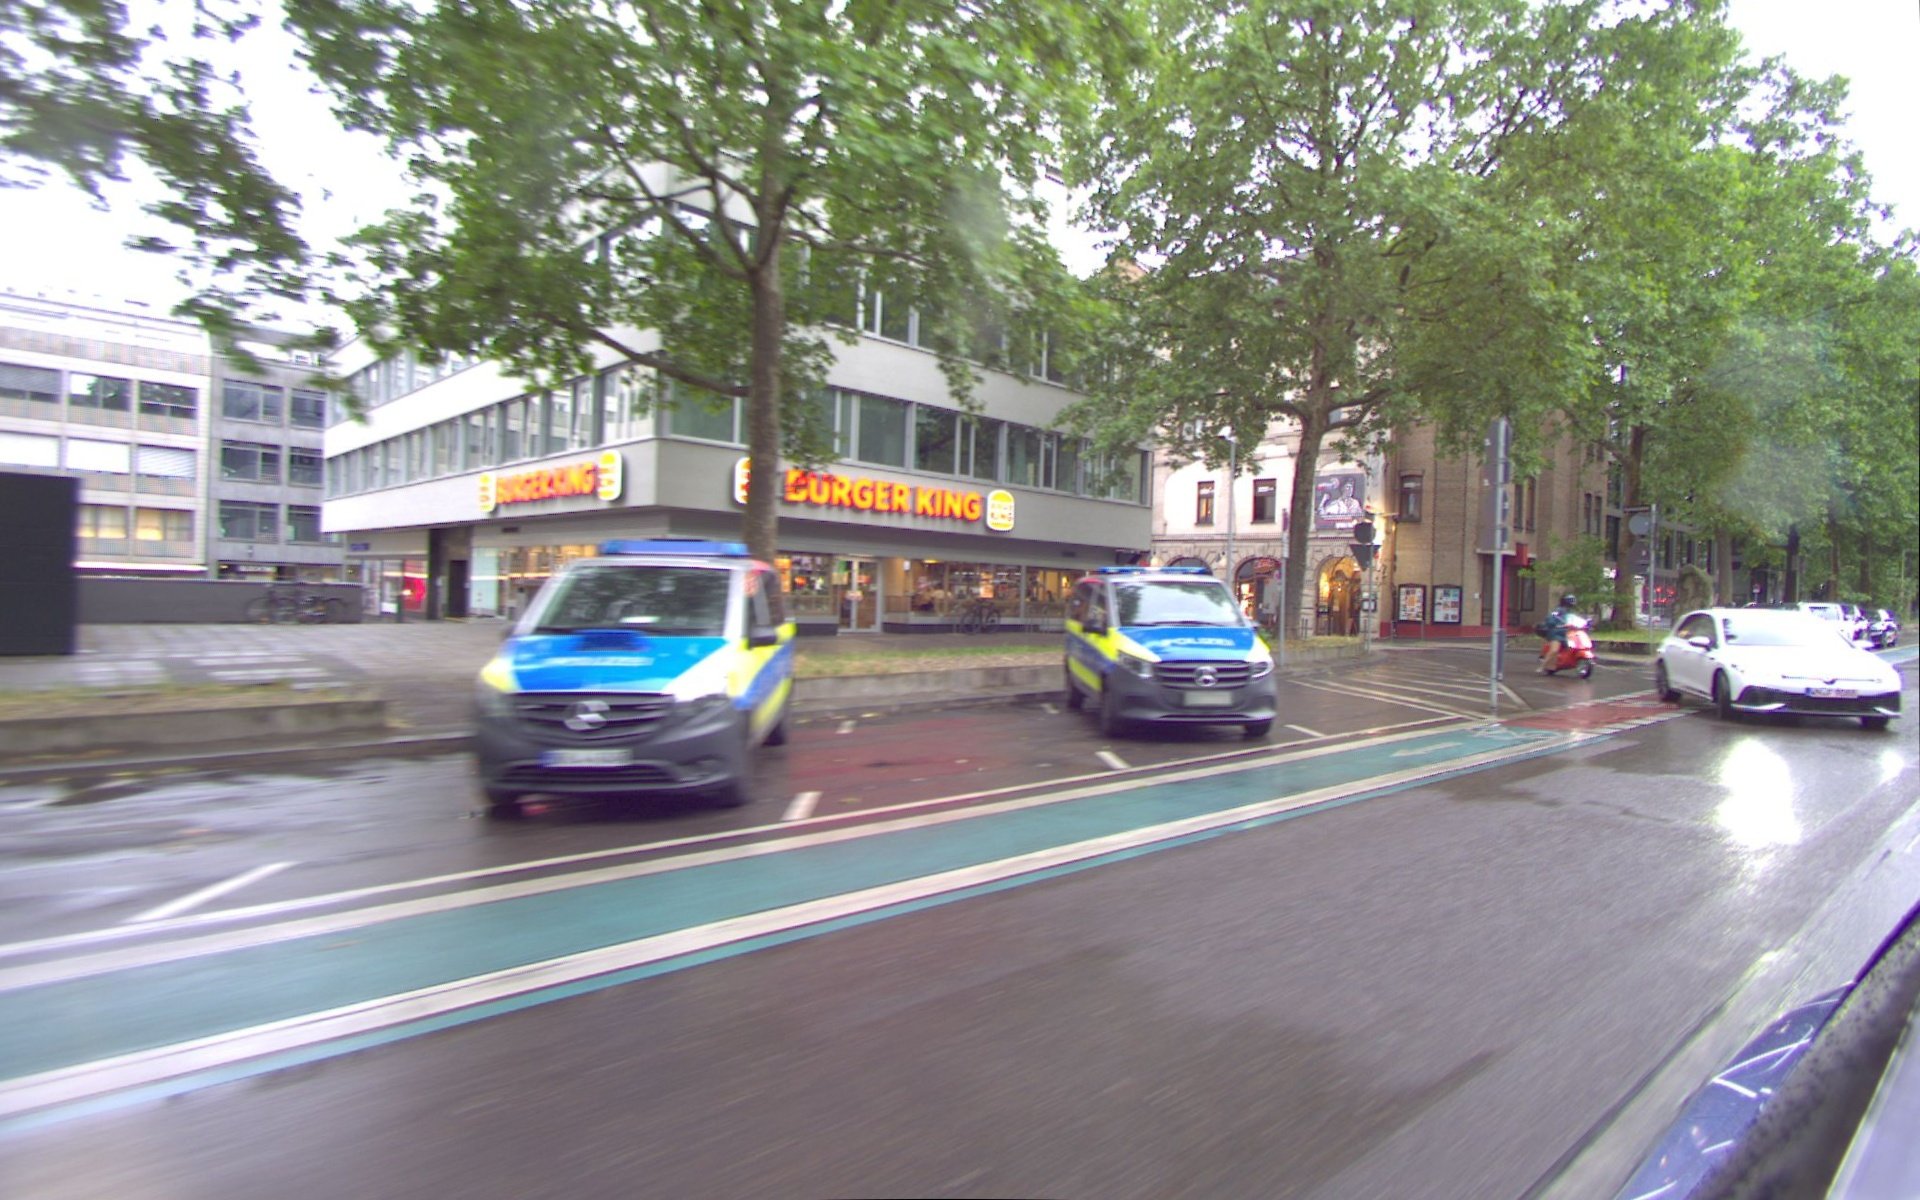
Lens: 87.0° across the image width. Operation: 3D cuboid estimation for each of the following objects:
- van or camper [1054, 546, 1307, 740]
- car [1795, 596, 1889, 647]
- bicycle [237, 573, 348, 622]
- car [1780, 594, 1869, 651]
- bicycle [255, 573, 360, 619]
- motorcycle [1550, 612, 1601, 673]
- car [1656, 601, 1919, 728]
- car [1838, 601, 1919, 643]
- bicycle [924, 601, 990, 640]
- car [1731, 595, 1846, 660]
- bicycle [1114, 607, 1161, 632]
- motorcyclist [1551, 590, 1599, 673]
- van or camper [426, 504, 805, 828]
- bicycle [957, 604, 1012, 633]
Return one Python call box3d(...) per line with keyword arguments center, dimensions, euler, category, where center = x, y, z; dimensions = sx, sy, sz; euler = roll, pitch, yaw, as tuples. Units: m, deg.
box3d(center=(2.533, 0.441, 13.028), dimensions=(1.963, 2.017, 4.949), euler=(0, 0, -2), category="van or camper")
box3d(center=(30.205, 0.677, 34.615), dimensions=(4.483, 1.609, 1.996), euler=(0, 0, -43), category="car")
box3d(center=(-16.671, -0.058, 25.308), dimensions=(2.247, 1.187, 0.687), euler=(0, 0, -41), category="bicycle")
box3d(center=(26.531, 0.643, 31.015), dimensions=(1.752, 1.605, 4.339), euler=(0, 0, 45), category="car")
box3d(center=(-17.284, -0.096, 26.853), dimensions=(2.249, 1.188, 0.687), euler=(0, 0, -44), category="bicycle")
box3d(center=(12.734, 0.853, 20.946), dimensions=(0.862, 1.157, 1.999), euler=(0, 0, 32), category="motorcycle")
box3d(center=(11.466, 0.755, 14.173), dimensions=(1.845, 1.463, 4.476), euler=(0, 0, 22), category="car")
box3d(center=(34.465, 0.785, 37.885), dimensions=(4.505, 1.451, 1.746), euler=(0, 0, -40), category="car")
box3d(center=(-0.078, 0.582, 29.545), dimensions=(0.584, 0.905, 2.044), euler=(14, 12, 42), category="bicycle")
box3d(center=(22.678, 0.693, 27.650), dimensions=(4.348, 1.623, 1.795), euler=(0, 0, -42), category="car")
box3d(center=(7.028, 0.757, 40.131), dimensions=(0.613, 0.949, 1.972), euler=(1, 0, -36), category="bicycle")
box3d(center=(12.707, 0.625, 20.920), dimensions=(0.842, 1.665, 0.862), euler=(0, 0, 32), category="motorcyclist")
box3d(center=(-2.572, 0.427, 8.998), dimensions=(1.957, 2.045, 5.092), euler=(0, 0, -4), category="van or camper")
box3d(center=(0.762, 0.549, 30.932), dimensions=(0.640, 0.829, 1.885), euler=(1, 1, 41), category="bicycle")
